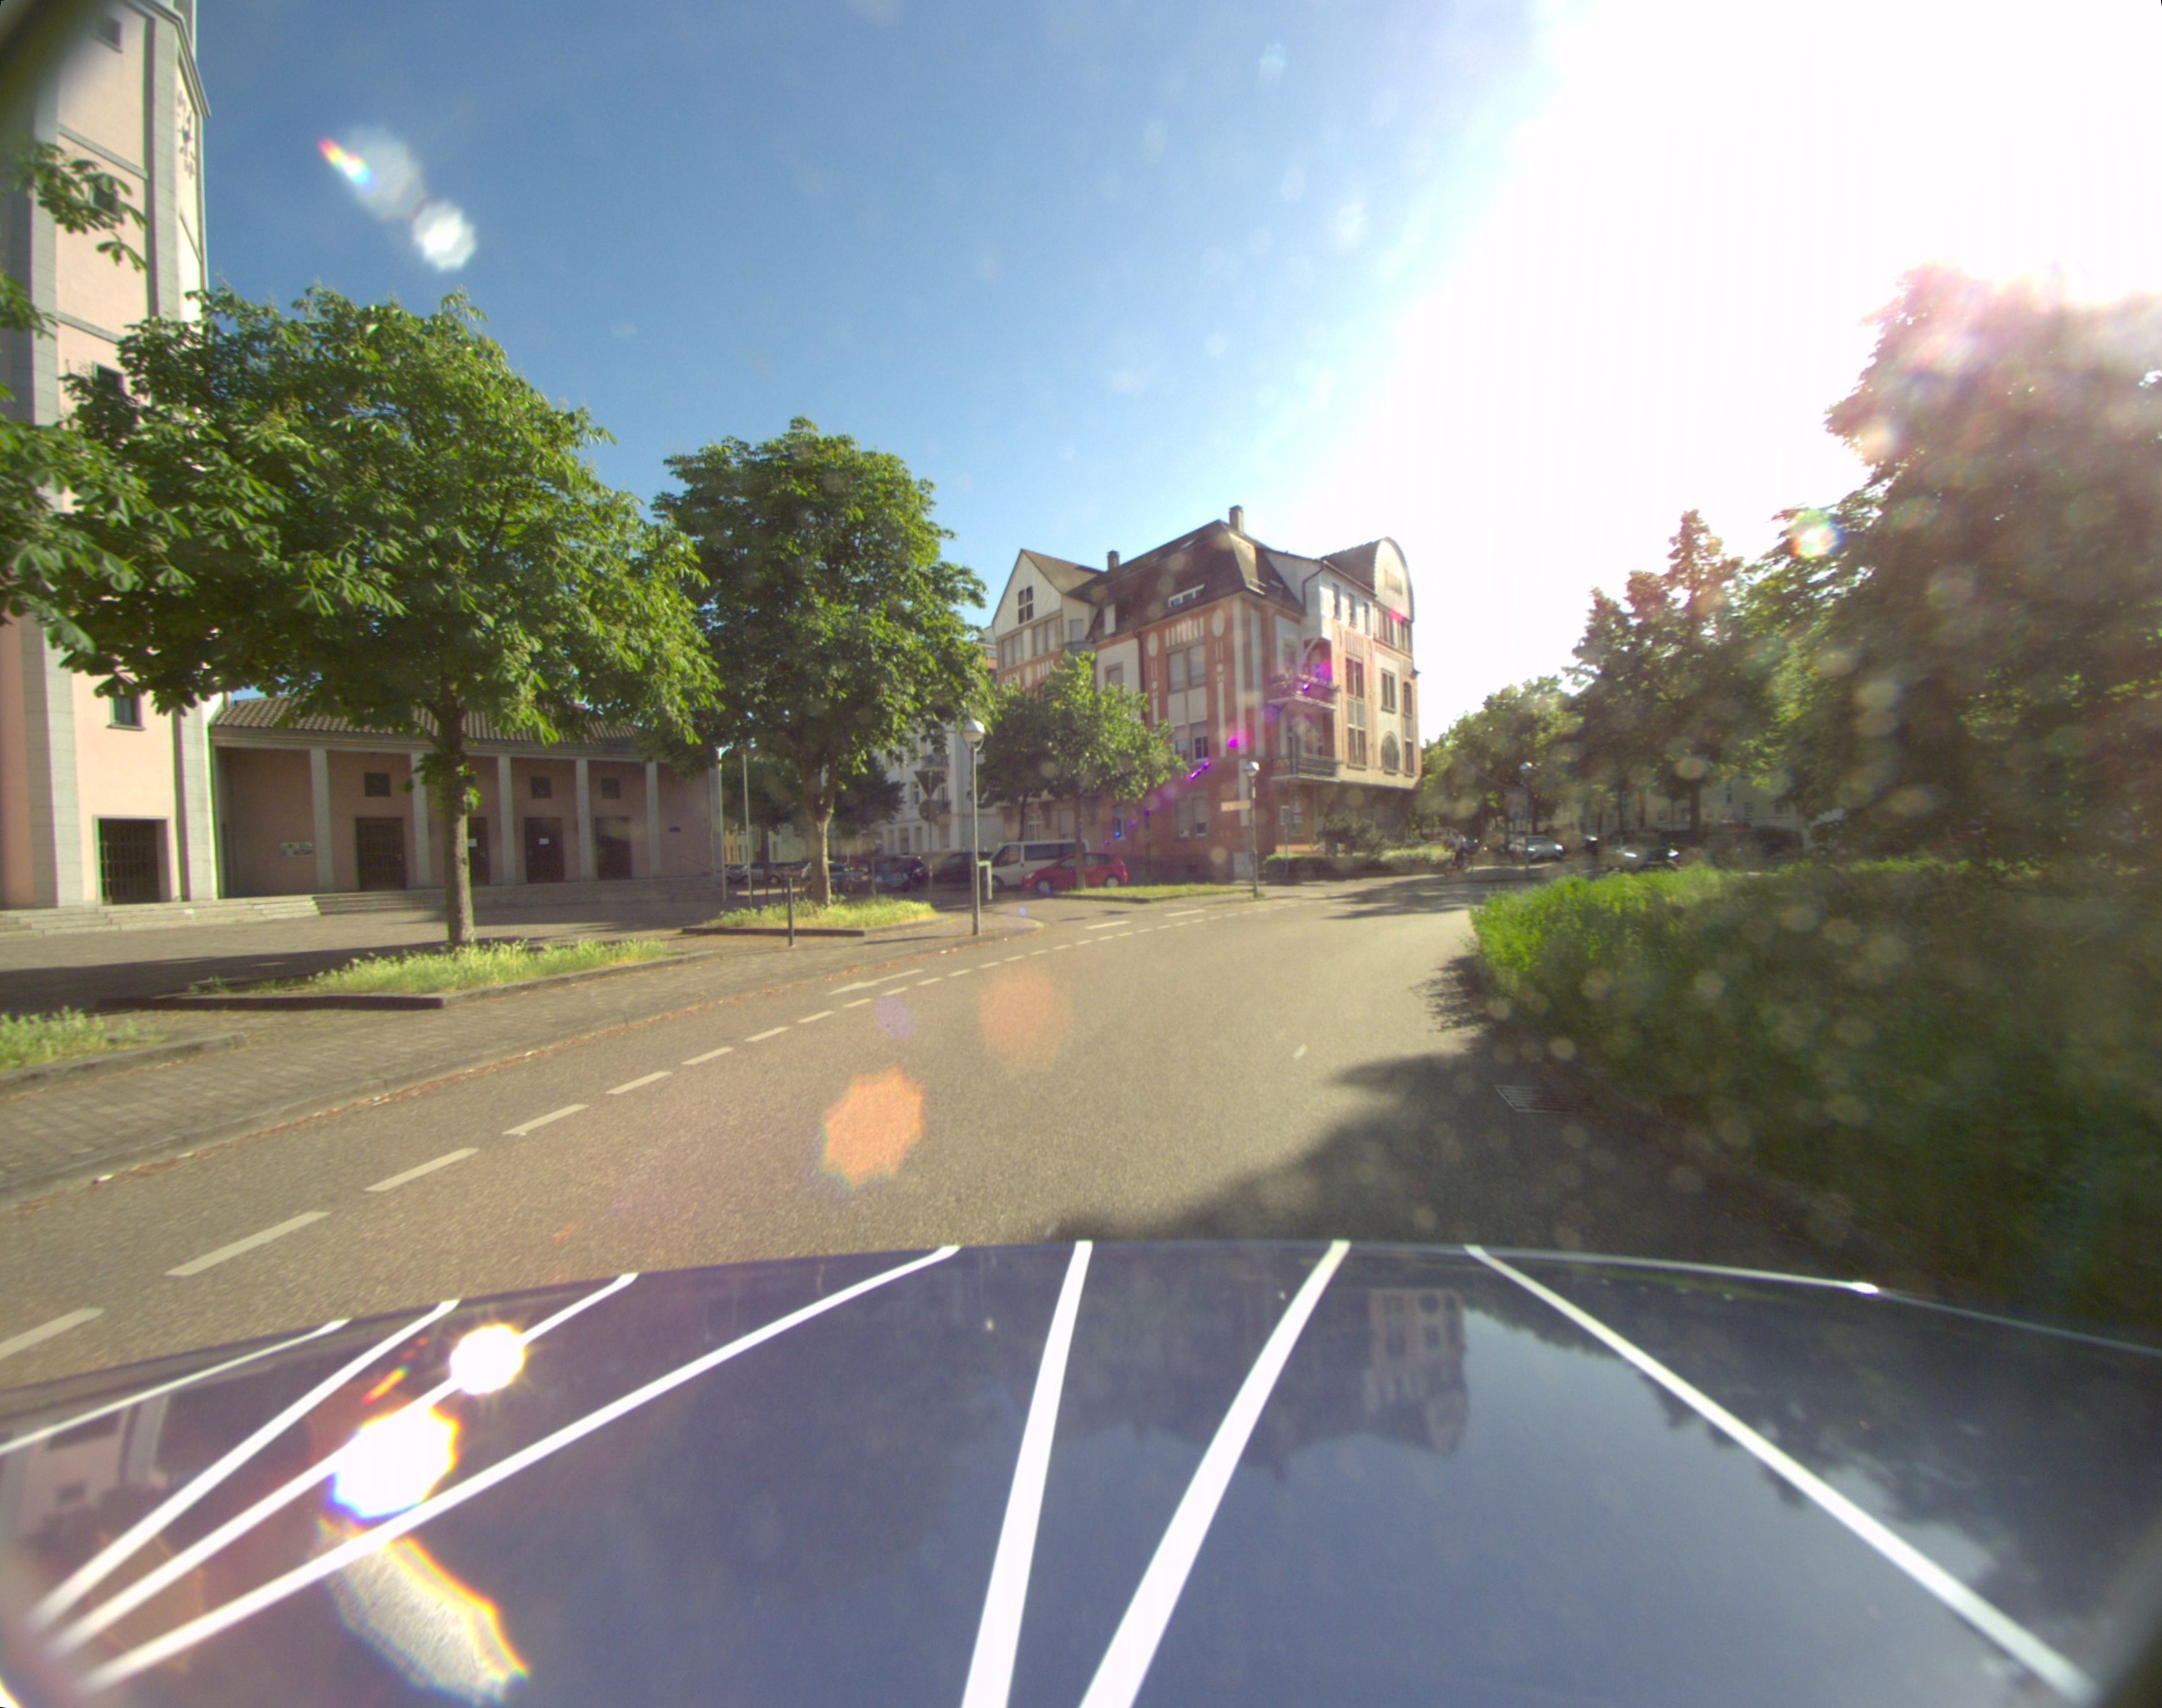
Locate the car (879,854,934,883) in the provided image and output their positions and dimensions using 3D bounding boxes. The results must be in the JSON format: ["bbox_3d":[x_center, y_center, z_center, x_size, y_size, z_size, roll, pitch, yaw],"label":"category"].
[{"bbox_3d":[-10.763,0.864,46.663,1.764,1.648,3.945,-3,1,-37],"label":"car"}]

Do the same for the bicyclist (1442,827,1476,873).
[{"bbox_3d":[14.310,-0.149,28.740,0.813,1.686,0.764,-3,2,-17],"label":"bicyclist"}]

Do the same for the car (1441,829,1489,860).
[{"bbox_3d":[24.240,-0.608,48.047,1.795,1.756,4.213,-4,0,15],"label":"car"}]

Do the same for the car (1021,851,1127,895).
[{"bbox_3d":[-0.295,0.671,28.165,3.695,1.427,1.668,-2,1,-7],"label":"car"}]

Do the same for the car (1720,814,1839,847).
[{"bbox_3d":[34.664,-1.136,37.825,3.991,1.464,1.762,-2,1,21],"label":"car"}]

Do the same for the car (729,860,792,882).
[{"bbox_3d":[-24.319,1.259,57.709,3.953,1.488,1.761,-2,1,-3],"label":"car"}]

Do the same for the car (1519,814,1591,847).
[{"bbox_3d":[38.420,-1.900,61.680,1.990,2.476,4.582,-3,1,-43],"label":"car"}]

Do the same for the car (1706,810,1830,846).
[{"bbox_3d":[31.778,-1.193,35.220,1.763,1.464,3.989,-3,1,-37],"label":"car"}]

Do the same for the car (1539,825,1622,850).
[{"bbox_3d":[31.765,-1.019,48.381,1.827,1.433,3.989,-3,1,-38],"label":"car"}]

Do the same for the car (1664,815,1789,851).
[{"bbox_3d":[29.177,-0.914,34.454,1.762,1.464,3.990,-3,1,-36],"label":"car"}]

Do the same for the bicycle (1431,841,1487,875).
[{"bbox_3d":[14.296,0.152,28.756,1.871,1.191,0.764,-3,2,-17],"label":"bicycle"}]

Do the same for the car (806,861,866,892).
[{"bbox_3d":[-12.118,1.088,37.471,1.617,1.414,3.604,-3,1,-37],"label":"car"}]

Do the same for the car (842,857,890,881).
[{"bbox_3d":[-14.492,0.984,51.149,1.764,1.447,3.945,-3,1,-37],"label":"car"}]

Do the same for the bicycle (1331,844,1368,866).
[{"bbox_3d":[13.216,0.064,37.416,1.669,1.065,0.501,-1,2,43],"label":"bicycle"}]

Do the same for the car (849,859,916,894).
[{"bbox_3d":[-8.927,0.974,34.011,1.617,1.414,3.604,-3,1,-37],"label":"car"}]

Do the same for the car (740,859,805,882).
[{"bbox_3d":[-22.313,1.175,55.062,3.953,1.488,1.761,-2,1,-3],"label":"car"}]

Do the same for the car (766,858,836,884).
[{"bbox_3d":[-18.520,1.127,50.441,3.953,1.488,1.761,-2,1,-3],"label":"car"}]

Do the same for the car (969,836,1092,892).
[{"bbox_3d":[-2.011,0.380,30.581,4.704,2.033,1.993,-2,1,-4],"label":"car"}]

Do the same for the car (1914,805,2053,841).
[{"bbox_3d":[40.319,-1.350,34.130,1.732,1.431,4.391,-2,1,14],"label":"car"}]

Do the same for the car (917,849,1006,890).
[{"bbox_3d":[-5.522,0.680,35.485,3.955,1.728,1.760,-2,1,-7],"label":"car"}]

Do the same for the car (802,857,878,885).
[{"bbox_3d":[-14.444,0.988,45.614,3.953,1.488,1.761,-2,1,-3],"label":"car"}]

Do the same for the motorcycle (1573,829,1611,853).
[{"bbox_3d":[30.407,-0.770,45.248,1.799,1.340,0.728,-2,1,-4],"label":"motorcycle"}]

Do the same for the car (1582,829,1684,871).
[{"bbox_3d":[21.286,-0.161,29.491,1.795,1.427,4.213,-3,0,16],"label":"car"}]

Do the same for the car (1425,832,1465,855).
[{"bbox_3d":[25.995,-0.739,54.341,1.795,1.445,4.213,-4,0,15],"label":"car"}]

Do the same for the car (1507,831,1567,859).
[{"bbox_3d":[25.901,-0.511,43.285,1.795,1.427,4.213,-3,0,16],"label":"car"}]
